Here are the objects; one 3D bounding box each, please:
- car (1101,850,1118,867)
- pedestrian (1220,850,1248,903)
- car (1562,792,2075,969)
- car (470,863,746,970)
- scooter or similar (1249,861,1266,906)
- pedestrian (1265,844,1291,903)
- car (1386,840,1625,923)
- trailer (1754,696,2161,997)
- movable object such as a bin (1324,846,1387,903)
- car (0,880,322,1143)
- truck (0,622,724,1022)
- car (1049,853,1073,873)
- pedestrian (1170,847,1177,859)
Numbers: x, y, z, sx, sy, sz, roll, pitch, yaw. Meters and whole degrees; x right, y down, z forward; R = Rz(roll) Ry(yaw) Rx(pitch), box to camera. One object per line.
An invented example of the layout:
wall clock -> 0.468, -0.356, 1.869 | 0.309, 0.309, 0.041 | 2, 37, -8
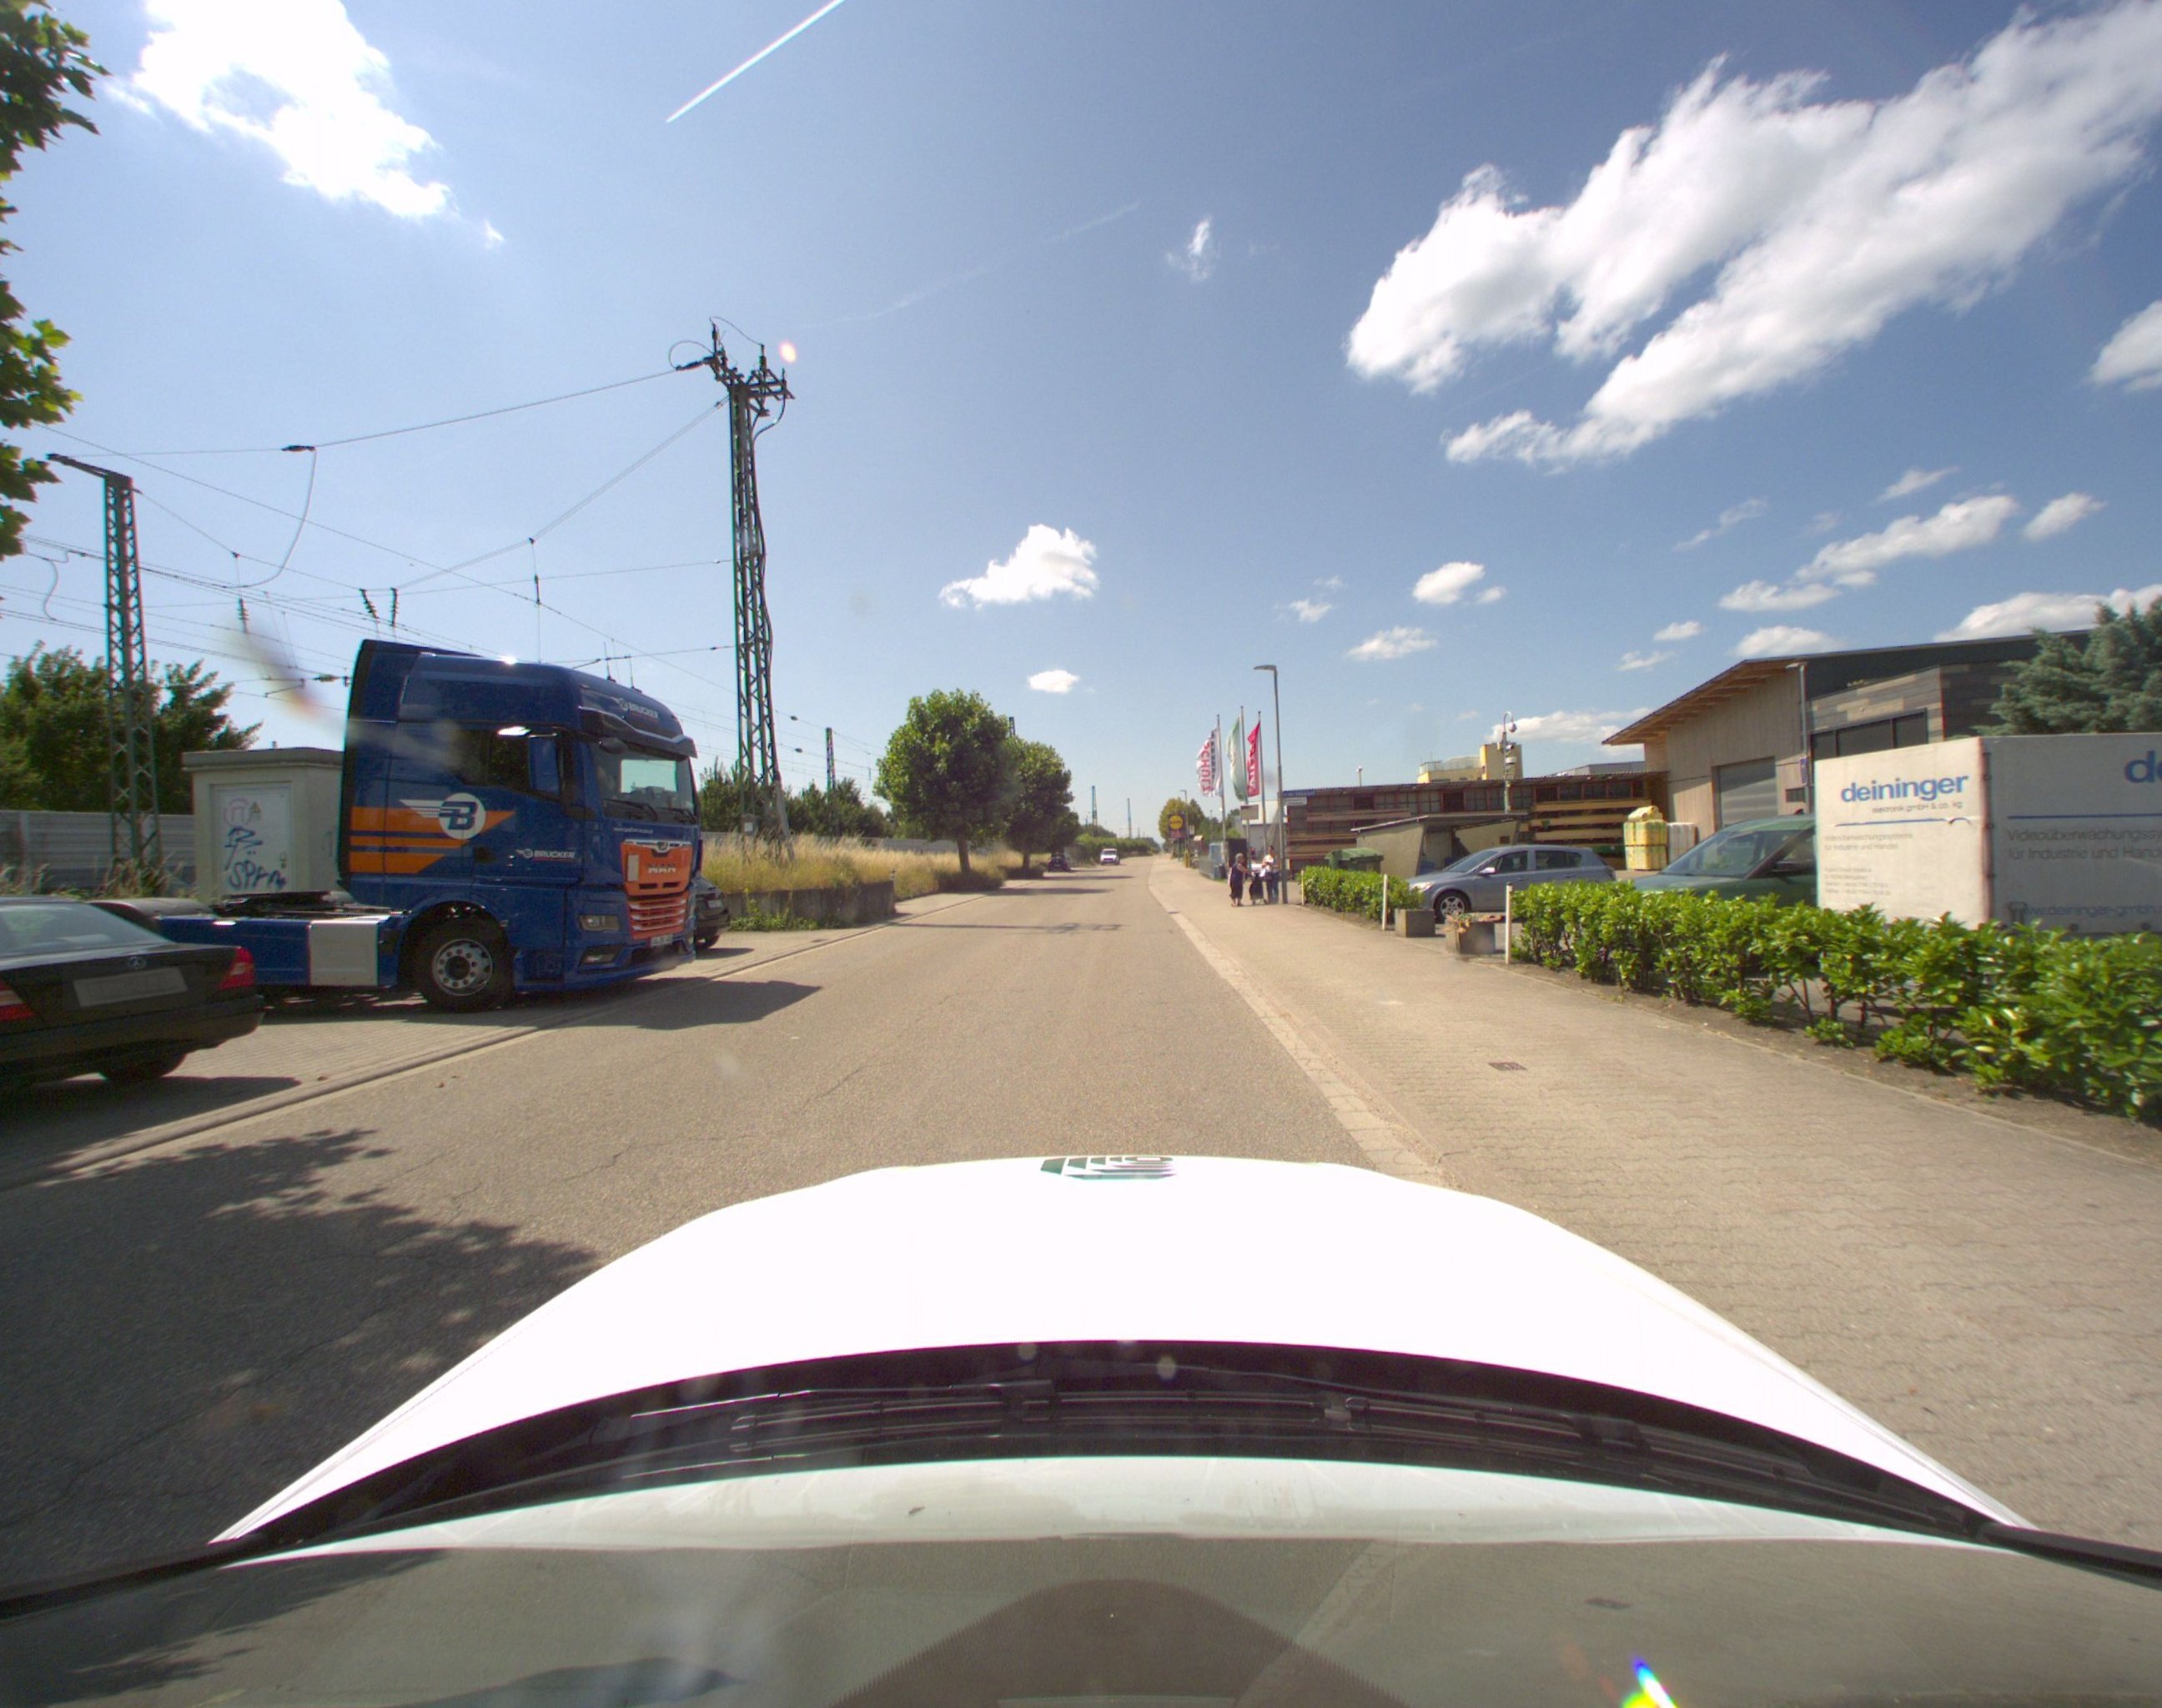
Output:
car -> 3.293, 0.485, 93.486 | 1.830, 1.858, 4.489 | -2, 0, 4
pedestrian -> 4.166, 0.615, 22.265 | 0.591, 1.405, 0.584 | -3, -2, 2
car -> 8.284, 0.311, 9.489 | 4.197, 1.634, 1.801 | -3, -2, 1
car -> -7.886, 1.027, 13.822 | 3.632, 1.500, 1.699 | -3, -2, -1
scooter or similar -> 4.805, 0.792, 22.174 | 0.332, 1.198, 0.398 | -3, -2, 4
pedestrian -> 5.332, 0.526, 22.049 | 0.533, 1.540, 0.511 | -3, -2, 2
car -> 8.334, 0.526, 16.280 | 3.828, 1.455, 1.819 | -2, 0, 4
trailer -> 8.207, -0.092, 6.472 | 3.970, 2.013, 2.002 | -2, 0, 3
movable object such as a bin -> 7.331, 0.527, 21.766 | 1.272, 1.458, 1.038 | -1, 0, -34
car -> -8.017, 0.959, 5.398 | 4.193, 1.395, 1.872 | -2, 0, 1
truck -> -8.215, -0.306, 9.672 | 6.590, 3.823, 2.665 | -3, -1, 1
car -> -1.642, 0.754, 68.130 | 1.734, 1.596, 3.582 | -2, 0, 3
pedestrian -> 12.847, -0.159, 113.227 | 0.758, 1.601, 1.211 | -2, 0, 2
